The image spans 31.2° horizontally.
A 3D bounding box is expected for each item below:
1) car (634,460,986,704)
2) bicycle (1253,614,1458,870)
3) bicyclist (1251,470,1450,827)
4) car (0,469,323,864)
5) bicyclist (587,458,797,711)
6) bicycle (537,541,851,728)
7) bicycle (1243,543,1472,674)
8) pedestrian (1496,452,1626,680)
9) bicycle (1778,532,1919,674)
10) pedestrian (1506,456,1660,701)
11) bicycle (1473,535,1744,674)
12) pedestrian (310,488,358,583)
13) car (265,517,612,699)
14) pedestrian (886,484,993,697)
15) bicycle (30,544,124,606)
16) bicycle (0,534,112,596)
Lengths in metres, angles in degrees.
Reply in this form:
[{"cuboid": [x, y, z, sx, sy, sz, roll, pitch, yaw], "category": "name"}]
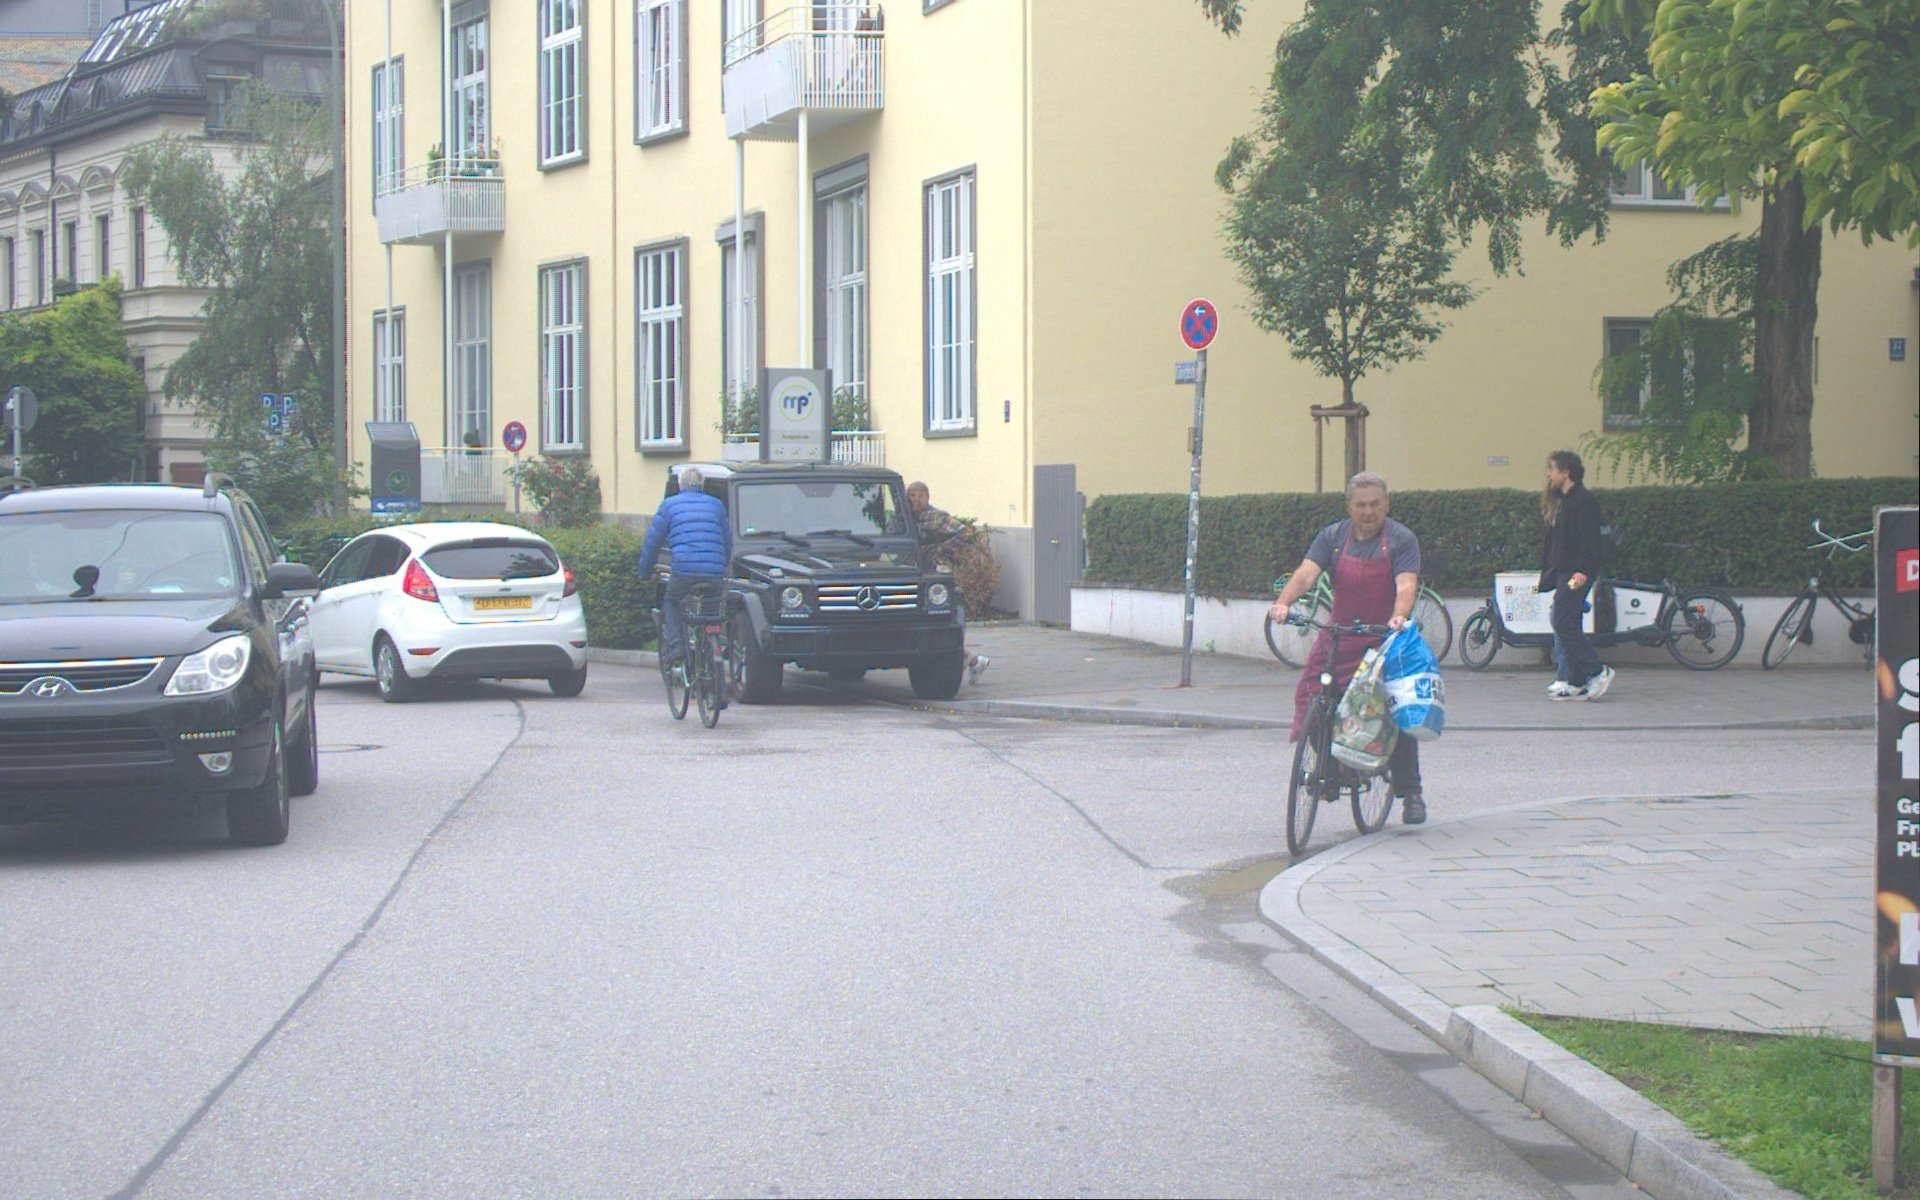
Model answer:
[{"cuboid": [-1.372, -0.221, 29.267, 1.873, 1.881, 4.620, -1, 2, -17], "category": "car"}, {"cuboid": [1.840, 0.622, 16.005, 0.876, 1.016, 2.190, 0, 2, 7], "category": "bicycle"}, {"cuboid": [1.816, 0.201, 15.973, 0.875, 1.603, 1.049, 0, 2, 7], "category": "bicyclist"}, {"cuboid": [-4.331, 0.216, 17.305, 1.993, 1.713, 4.616, -1, 2, -8], "category": "car"}, {"cuboid": [-1.924, -0.129, 24.641, 1.214, 1.758, 0.914, 1, 3, 45], "category": "bicyclist"}, {"cuboid": [-1.928, 0.218, 24.646, 2.320, 1.248, 0.921, 1, 3, 44], "category": "bicycle"}, {"cuboid": [3.393, 0.079, 29.481, 1.948, 1.081, 0.528, -1, 0, 40], "category": "bicycle"}, {"cuboid": [4.650, -0.273, 26.655, 0.826, 1.740, 0.741, -1, 2, -4], "category": "pedestrian"}, {"cuboid": [7.553, 0.017, 27.970, 1.682, 1.126, 0.460, -1, 2, -4], "category": "bicycle"}, {"cuboid": [4.682, -0.168, 25.863, 0.989, 1.803, 0.660, -1, 1, -4], "category": "pedestrian"}, {"cuboid": [5.351, 0.035, 28.335, 2.169, 1.112, 0.640, 0, 2, 13], "category": "bicycle"}, {"cuboid": [-11.200, -1.159, 61.522, 0.631, 1.678, 0.698, -2, 2, -26], "category": "pedestrian"}, {"cuboid": [-4.489, 0.017, 29.201, 1.747, 1.401, 3.728, -2, 2, -28], "category": "car"}, {"cuboid": [-0.182, -0.096, 29.129, 0.848, 1.751, 0.954, -1, 2, -2], "category": "pedestrian"}, {"cuboid": [-15.193, -0.437, 59.170, 1.534, 1.011, 0.409, -4, 3, -44], "category": "bicycle"}, {"cuboid": [-15.609, -0.610, 58.993, 1.972, 1.025, 0.619, -1, 2, -41], "category": "bicycle"}]
